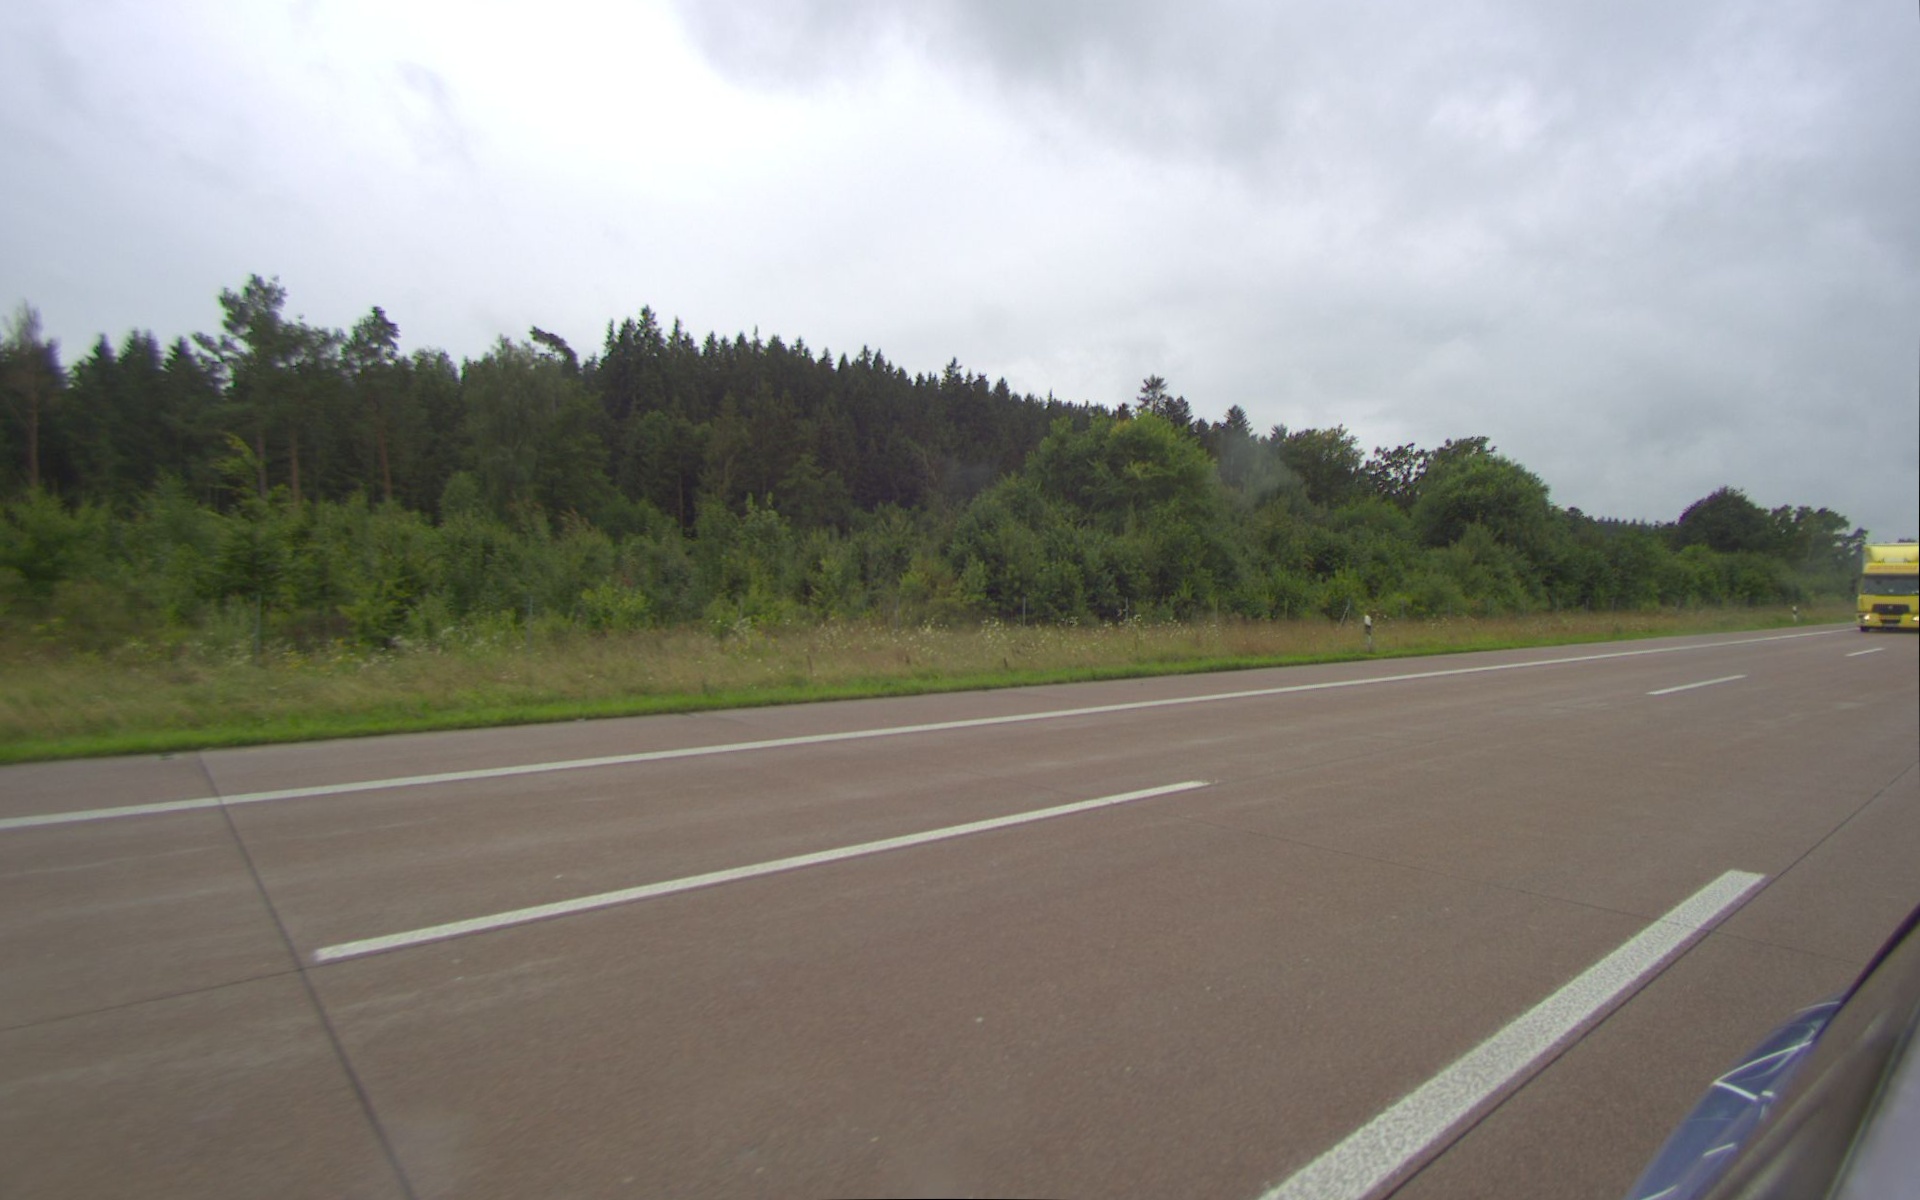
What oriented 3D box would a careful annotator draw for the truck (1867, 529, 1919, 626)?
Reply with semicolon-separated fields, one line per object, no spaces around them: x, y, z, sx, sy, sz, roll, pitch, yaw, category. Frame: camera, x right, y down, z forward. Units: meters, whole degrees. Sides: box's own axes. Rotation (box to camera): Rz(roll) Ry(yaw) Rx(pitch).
44.118;-1.043;46.595;6.139;4.267;2.609;-1;1;-39;truck

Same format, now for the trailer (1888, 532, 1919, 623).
50.810;-1.199;52.092;13.829;4.281;2.571;-1;1;-39;trailer
